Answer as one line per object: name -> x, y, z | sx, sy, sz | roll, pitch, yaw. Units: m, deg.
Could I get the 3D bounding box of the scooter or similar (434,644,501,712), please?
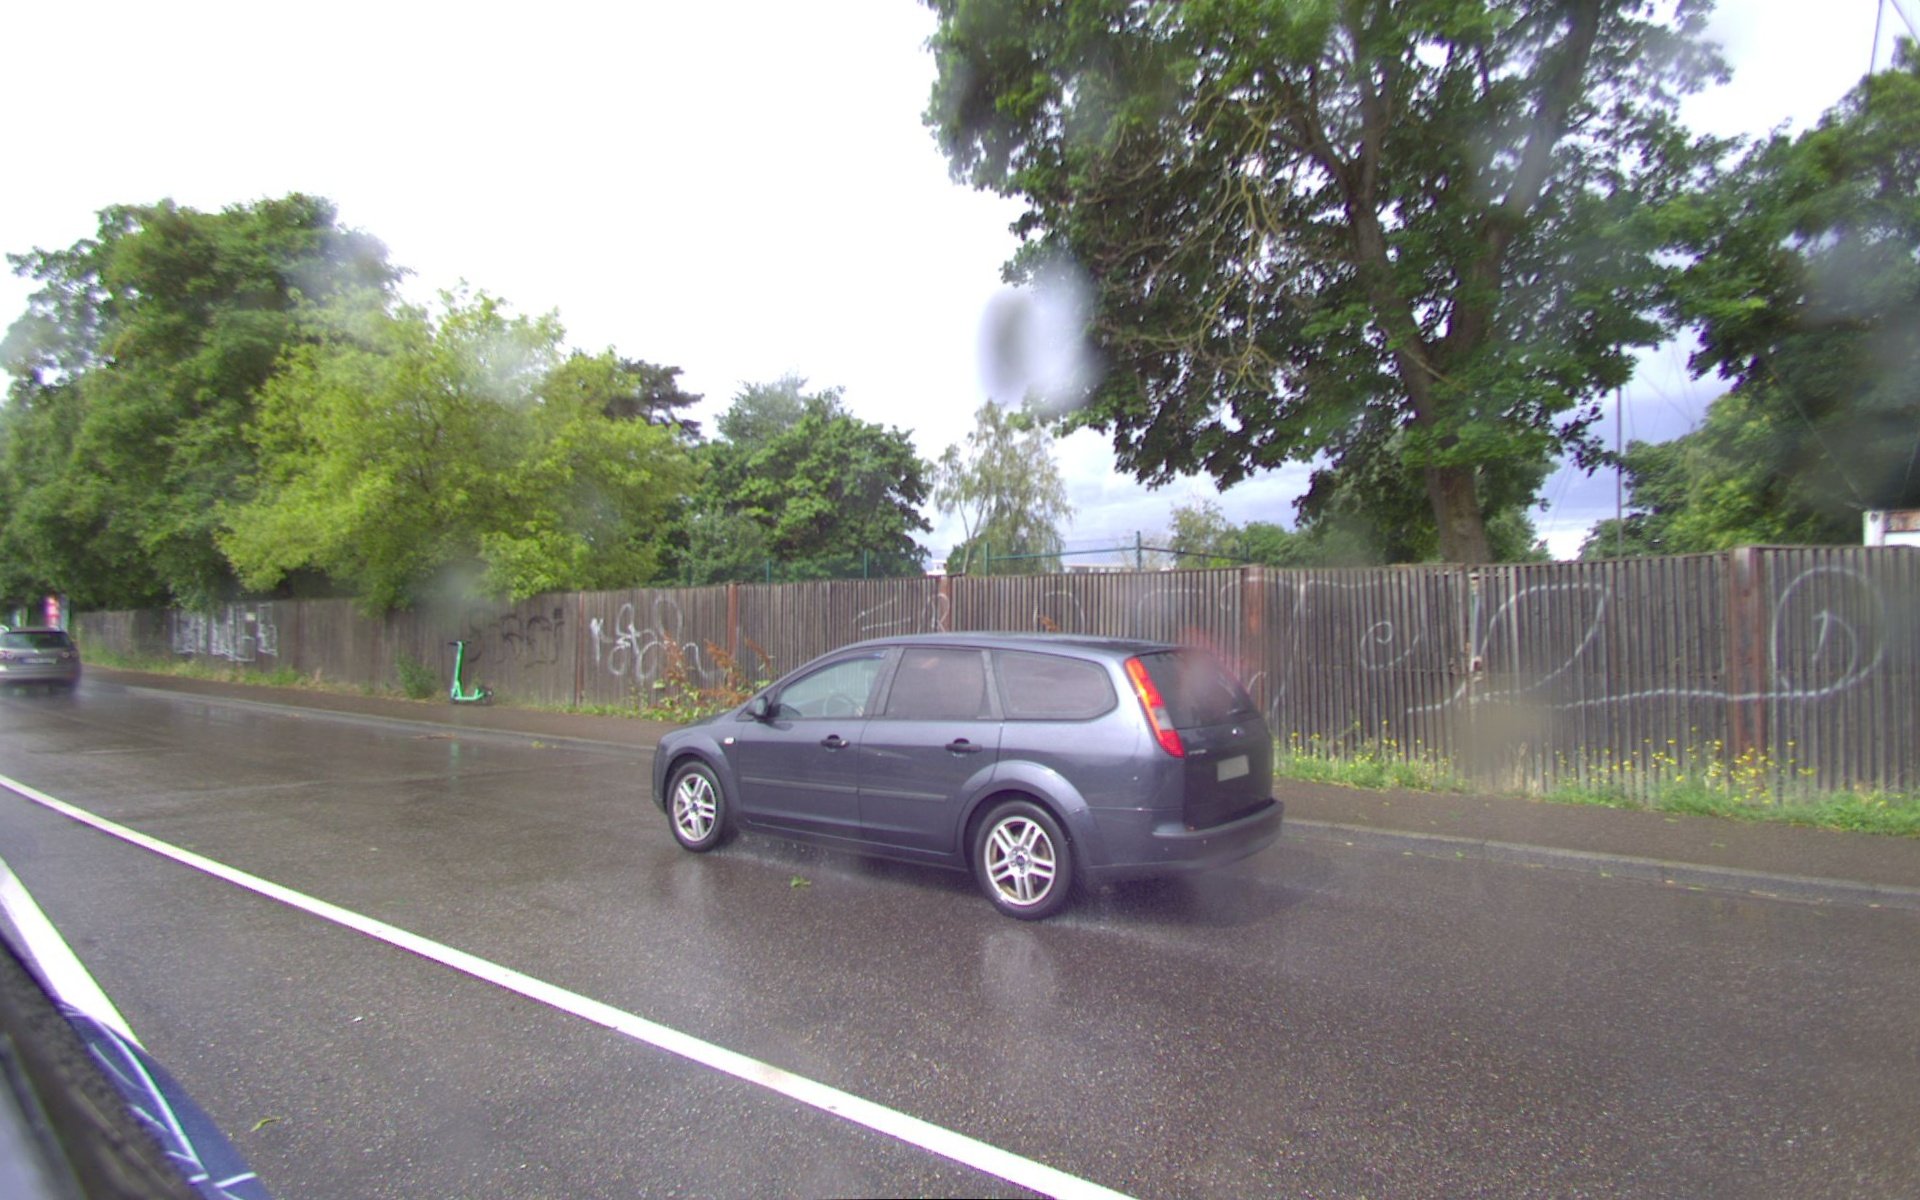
scooter or similar -> -8.905, 1.388, 18.301 | 1.205, 1.171, 0.557 | -1, -2, 34

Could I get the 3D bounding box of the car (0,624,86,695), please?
car -> -22.657, 1.411, 24.256 | 4.421, 1.564, 1.763 | -2, -5, 39

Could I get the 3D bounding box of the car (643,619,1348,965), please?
car -> 0.072, 0.888, 6.438 | 4.169, 1.494, 1.858 | 0, -2, 36
